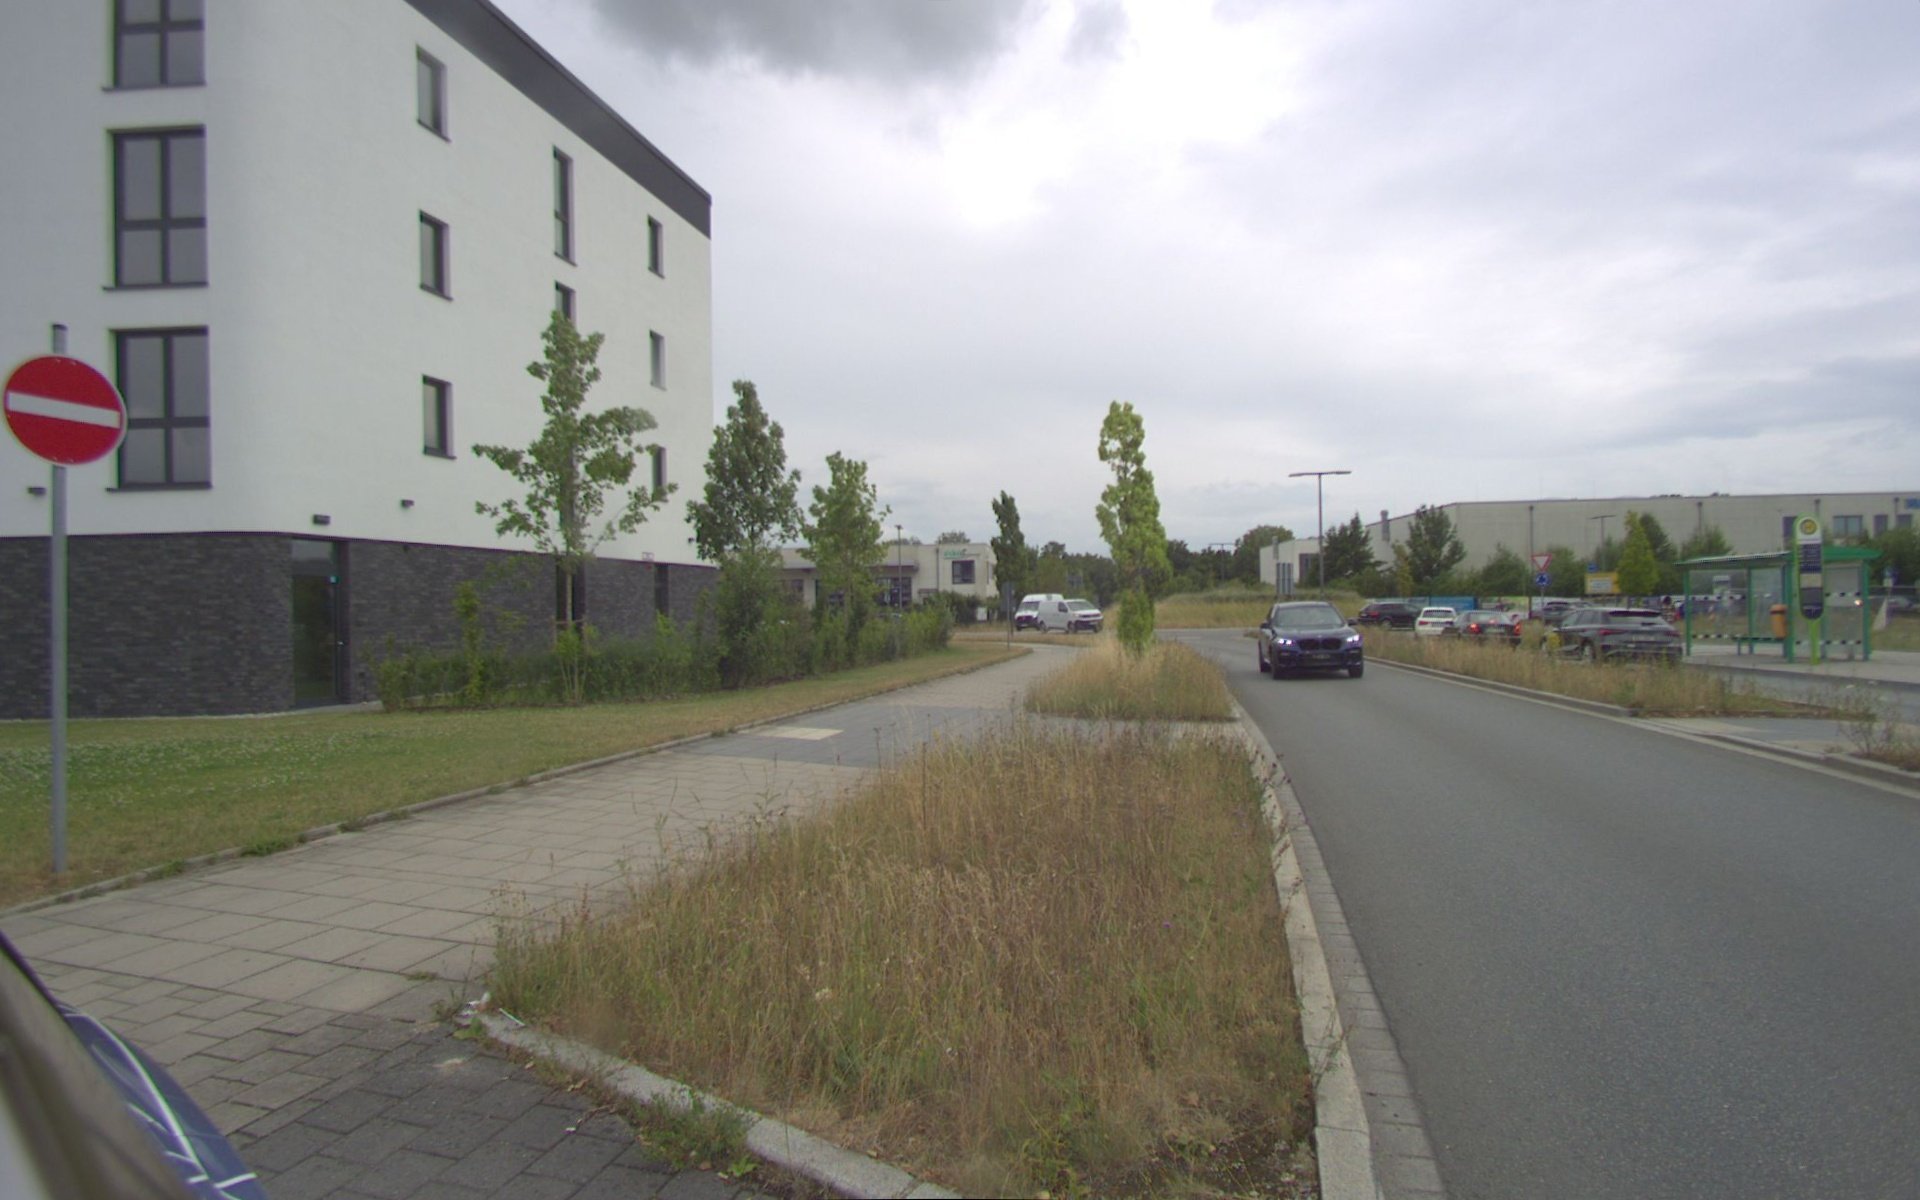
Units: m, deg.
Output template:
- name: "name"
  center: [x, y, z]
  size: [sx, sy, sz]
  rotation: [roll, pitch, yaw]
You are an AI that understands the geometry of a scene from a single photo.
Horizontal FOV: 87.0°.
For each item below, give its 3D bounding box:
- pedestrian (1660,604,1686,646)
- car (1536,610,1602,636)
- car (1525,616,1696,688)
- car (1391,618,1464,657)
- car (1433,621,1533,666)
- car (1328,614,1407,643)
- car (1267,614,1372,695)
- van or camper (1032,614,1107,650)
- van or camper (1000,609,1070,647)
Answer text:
- name: "pedestrian"
  center: [29.491, 1.033, 41.873]
  size: [0.641, 1.735, 0.744]
  rotation: [0, -1, -42]
- name: "car"
  center: [34.645, 1.297, 57.514]
  size: [3.997, 1.353, 1.722]
  rotation: [-1, -1, -35]
- name: "car"
  center: [14.933, 1.146, 23.524]
  size: [1.778, 1.478, 4.306]
  rotation: [-1, -1, 10]
- name: "car"
  center: [19.304, 1.530, 41.963]
  size: [1.739, 1.492, 4.043]
  rotation: [-1, 0, 10]
- name: "car"
  center: [17.639, 1.420, 34.350]
  size: [1.772, 1.406, 4.357]
  rotation: [0, -1, 10]
- name: "car"
  center: [20.077, 1.426, 49.996]
  size: [3.251, 1.364, 1.558]
  rotation: [-1, -1, 5]
- name: "car"
  center: [7.989, 1.151, 22.821]
  size: [1.877, 1.652, 3.980]
  rotation: [-1, -1, 15]
- name: "van or camper"
  center: [6.140, 1.812, 57.341]
  size: [1.949, 1.905, 4.857]
  rotation: [0, -2, -25]
- name: "van or camper"
  center: [5.391, 1.966, 72.356]
  size: [2.000, 2.601, 5.388]
  rotation: [-1, -1, 44]
